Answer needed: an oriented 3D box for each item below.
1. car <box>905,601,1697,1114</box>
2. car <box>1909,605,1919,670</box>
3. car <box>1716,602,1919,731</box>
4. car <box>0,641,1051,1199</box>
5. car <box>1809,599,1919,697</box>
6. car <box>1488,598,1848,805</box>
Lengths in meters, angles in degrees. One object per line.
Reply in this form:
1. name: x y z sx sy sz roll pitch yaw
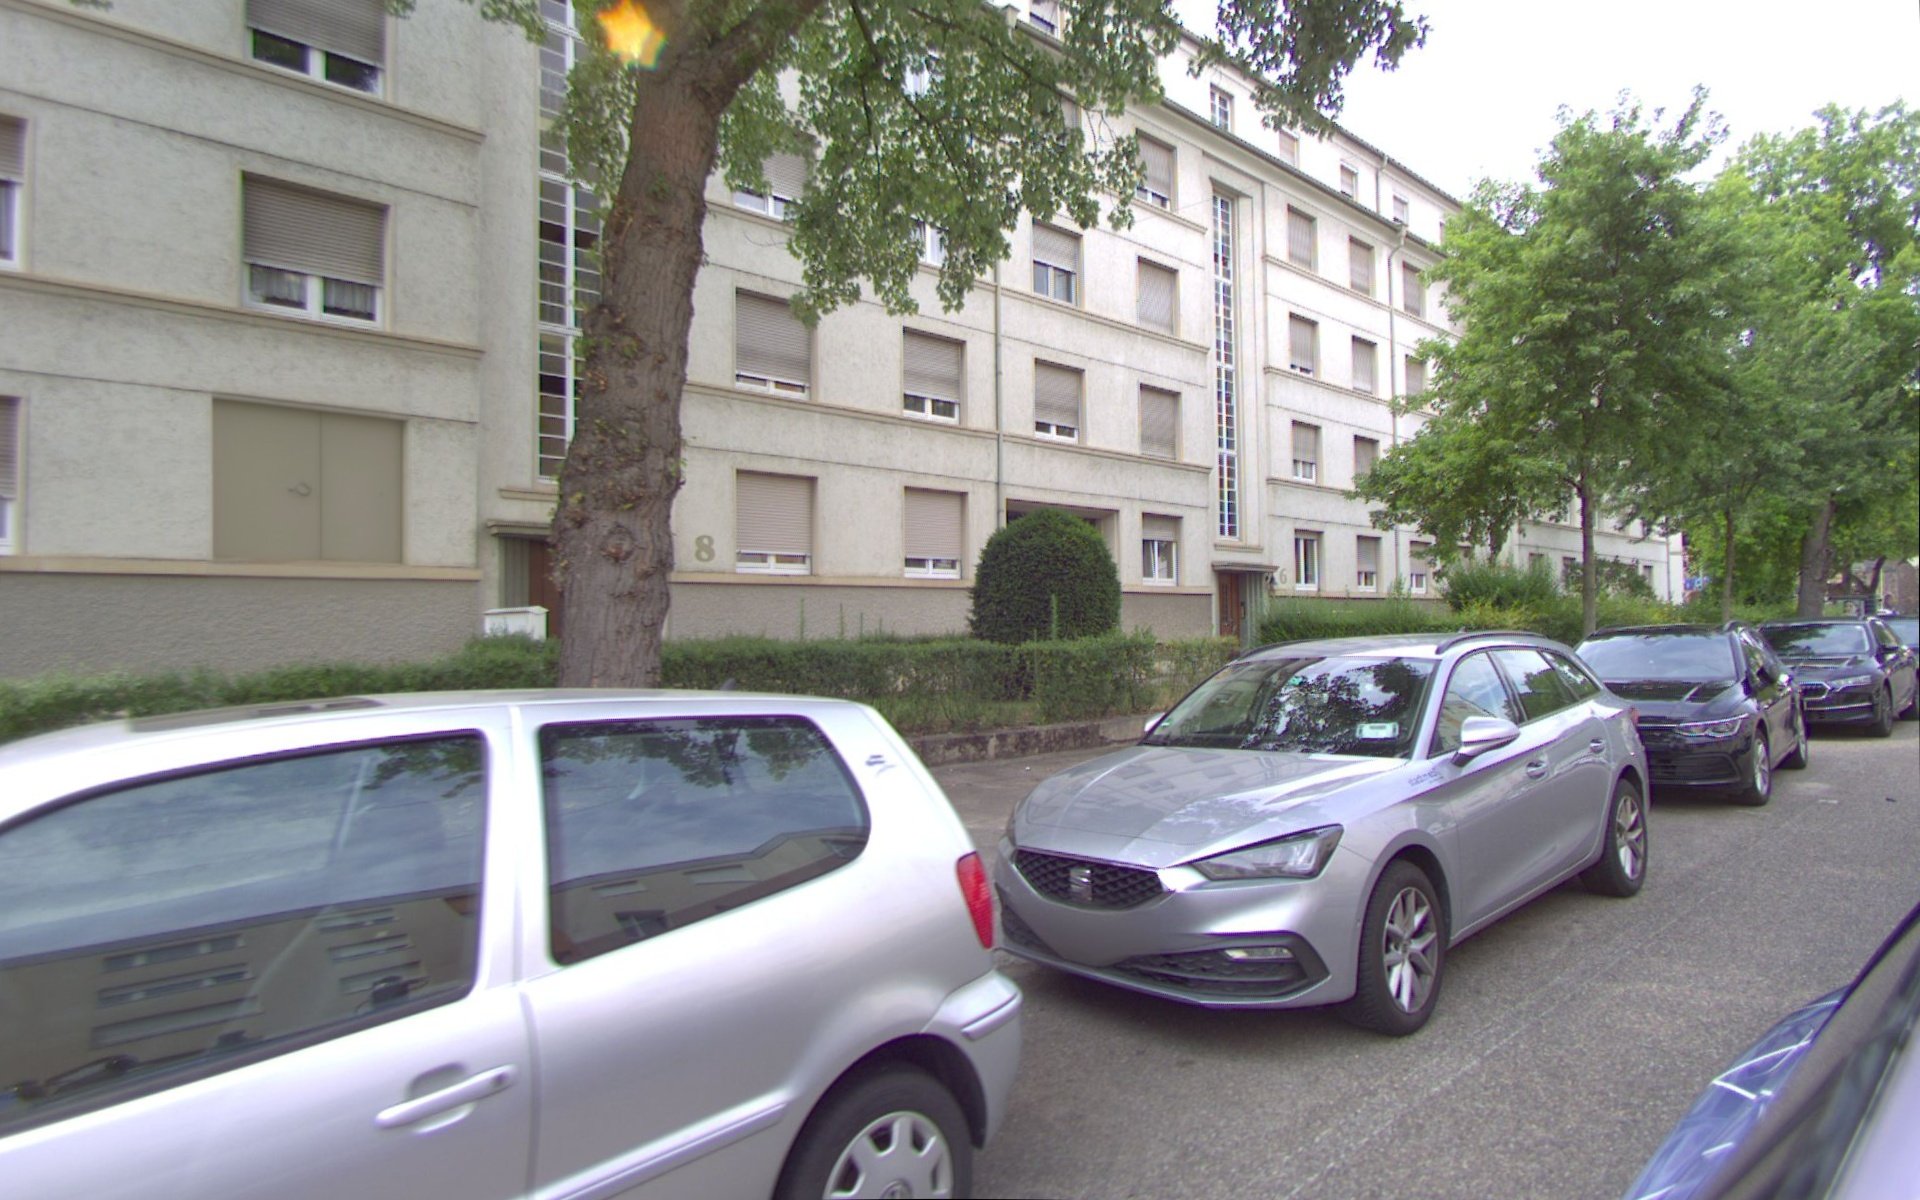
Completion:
1. car: 2.075 0.791 5.155 4.636 1.488 1.699 0 -3 -42
2. car: 23.603 0.825 23.650 4.031 1.468 1.699 0 -2 -42
3. car: 12.038 0.810 13.814 4.478 1.488 1.700 0 -3 -40
4. car: -1.763 0.862 1.865 3.784 1.419 1.671 0 -4 -41
5. car: 15.837 0.750 16.970 4.028 1.488 1.700 0 -3 -40
6. car: 6.792 0.771 9.483 4.672 1.488 1.699 0 -3 -42
